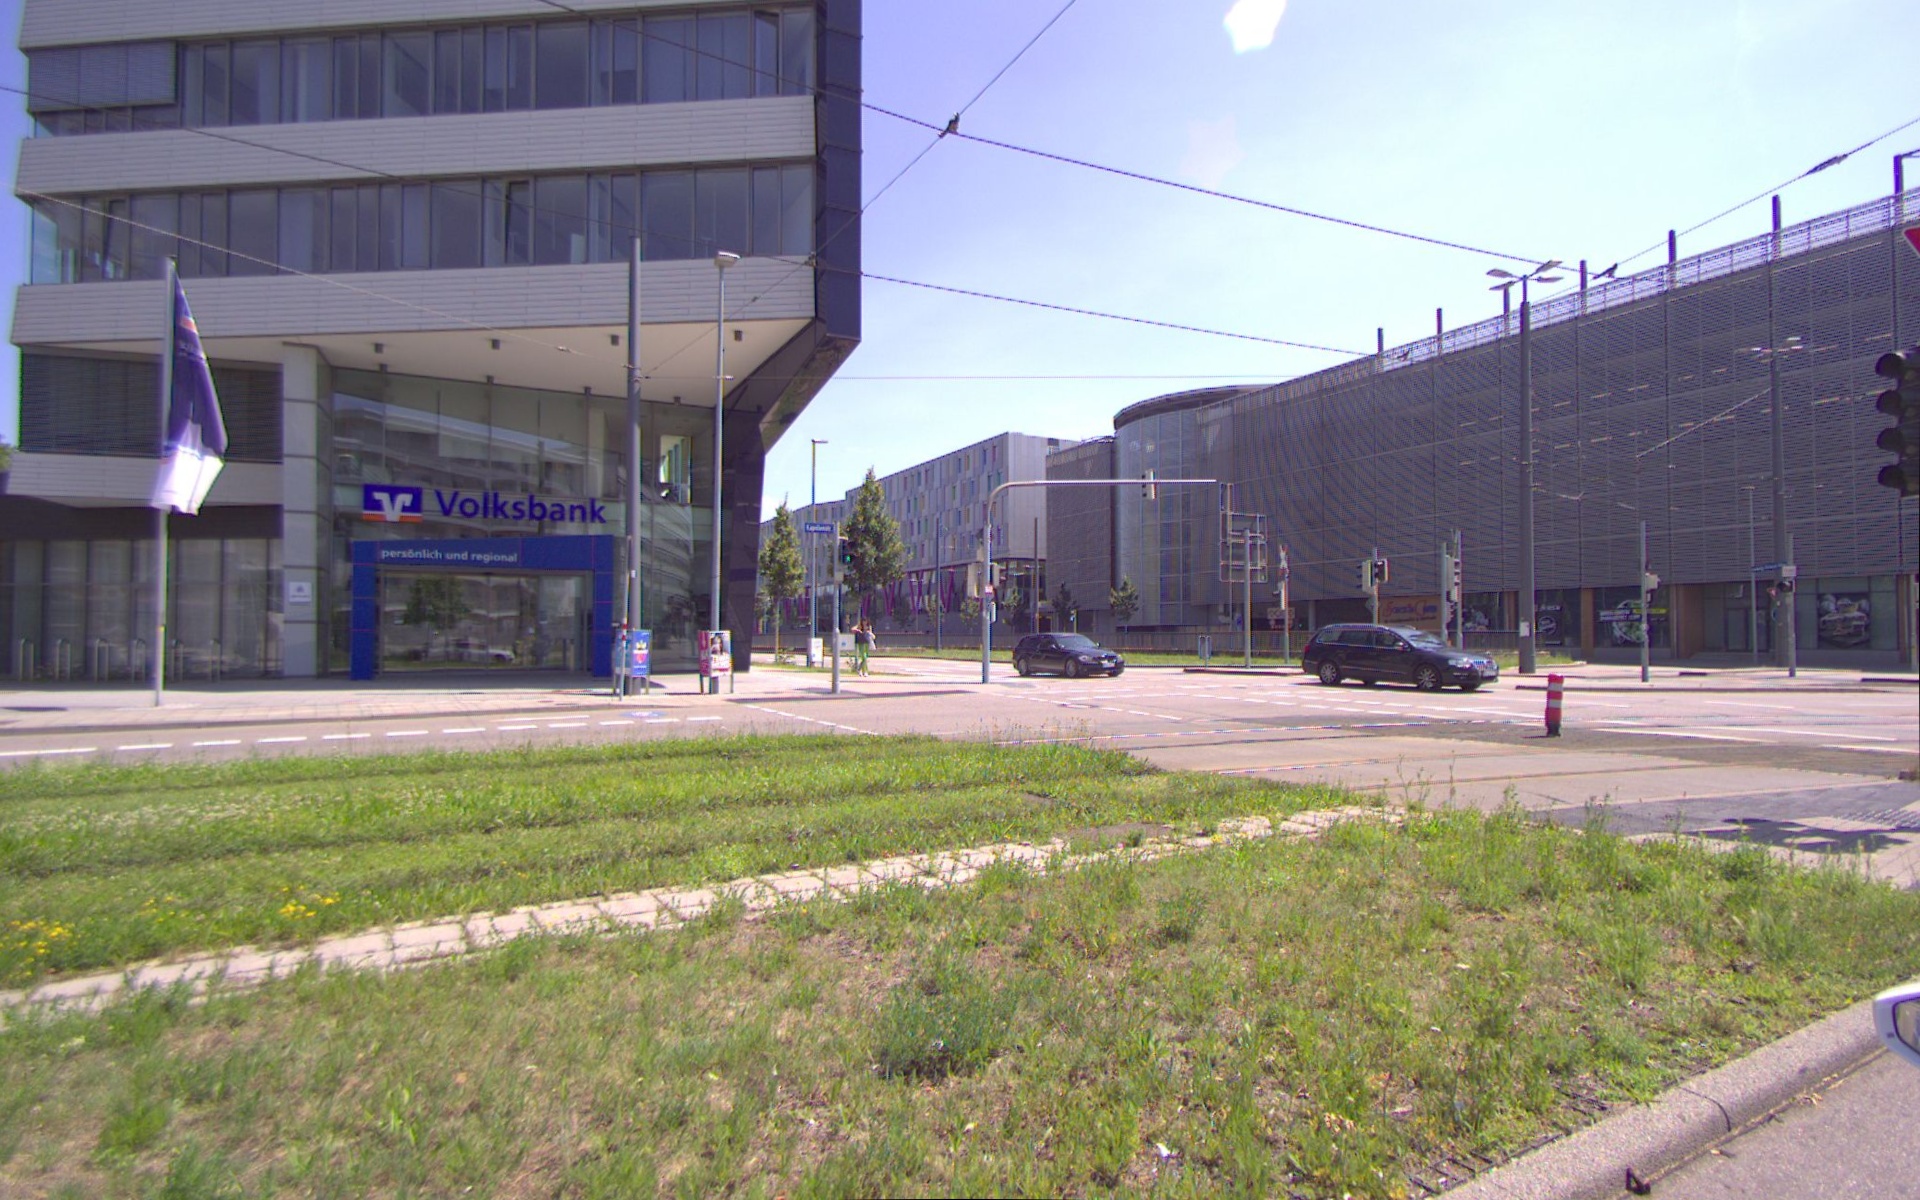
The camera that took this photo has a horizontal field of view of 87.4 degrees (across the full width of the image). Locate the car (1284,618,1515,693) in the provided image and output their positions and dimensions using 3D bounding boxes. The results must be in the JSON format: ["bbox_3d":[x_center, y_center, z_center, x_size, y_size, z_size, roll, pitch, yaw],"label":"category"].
[{"bbox_3d":[10.428,1.252,24.231,1.979,1.602,4.825,0,-1,-34],"label":"car"}]

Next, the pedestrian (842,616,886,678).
[{"bbox_3d":[-2.819,1.359,29.425,0.889,1.770,0.975,0,-1,31],"label":"pedestrian"}]

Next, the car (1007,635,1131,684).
[{"bbox_3d":[3.320,1.806,31.502,1.617,1.360,4.282,0,-1,-31],"label":"car"}]
